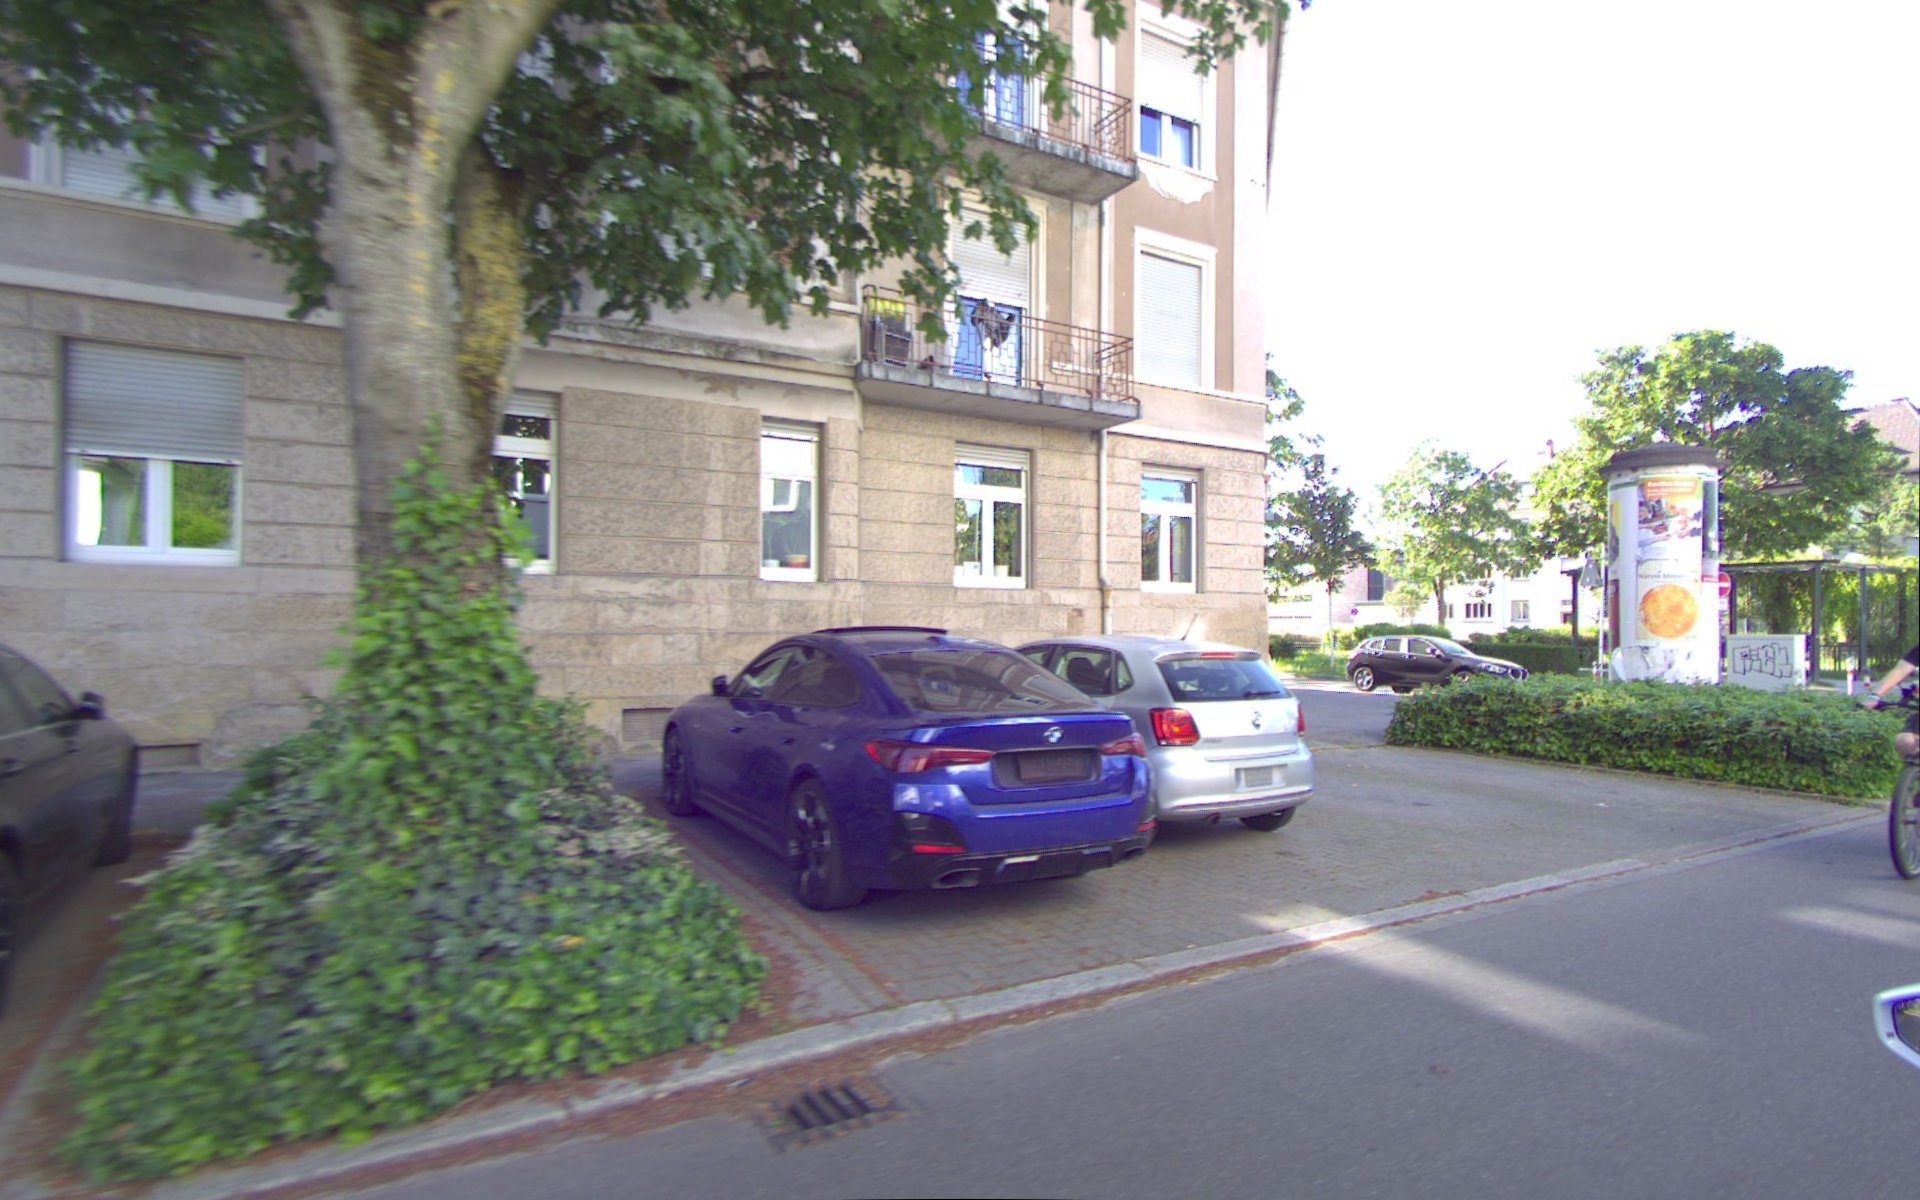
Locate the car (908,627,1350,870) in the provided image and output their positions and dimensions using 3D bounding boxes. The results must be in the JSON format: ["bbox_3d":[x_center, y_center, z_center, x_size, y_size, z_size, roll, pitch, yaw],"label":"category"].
[{"bbox_3d":[1.152,0.985,8.260,1.710,1.449,3.562,1,-1,-30],"label":"car"}]

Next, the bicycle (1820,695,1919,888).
[{"bbox_3d":[6.568,1.221,6.676,1.868,1.093,0.716,1,-2,-31],"label":"bicycle"}]

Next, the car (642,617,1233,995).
[{"bbox_3d":[-0.555,0.924,6.580,1.848,1.498,4.449,2,-1,-32],"label":"car"}]

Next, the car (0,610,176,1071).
[{"bbox_3d":[-4.860,0.813,4.294,1.848,1.498,4.449,2,-1,-32],"label":"car"}]

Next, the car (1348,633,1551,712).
[{"bbox_3d":[11.864,1.718,24.613,1.788,1.502,4.120,12,-7,-28],"label":"car"}]

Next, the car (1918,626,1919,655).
[{"bbox_3d":[48.191,2.046,47.425,1.979,1.394,3.963,2,0,-33],"label":"car"}]

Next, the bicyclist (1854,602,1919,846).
[{"bbox_3d":[6.623,0.799,6.662,1.124,1.557,0.718,1,-2,-31],"label":"bicyclist"}]
